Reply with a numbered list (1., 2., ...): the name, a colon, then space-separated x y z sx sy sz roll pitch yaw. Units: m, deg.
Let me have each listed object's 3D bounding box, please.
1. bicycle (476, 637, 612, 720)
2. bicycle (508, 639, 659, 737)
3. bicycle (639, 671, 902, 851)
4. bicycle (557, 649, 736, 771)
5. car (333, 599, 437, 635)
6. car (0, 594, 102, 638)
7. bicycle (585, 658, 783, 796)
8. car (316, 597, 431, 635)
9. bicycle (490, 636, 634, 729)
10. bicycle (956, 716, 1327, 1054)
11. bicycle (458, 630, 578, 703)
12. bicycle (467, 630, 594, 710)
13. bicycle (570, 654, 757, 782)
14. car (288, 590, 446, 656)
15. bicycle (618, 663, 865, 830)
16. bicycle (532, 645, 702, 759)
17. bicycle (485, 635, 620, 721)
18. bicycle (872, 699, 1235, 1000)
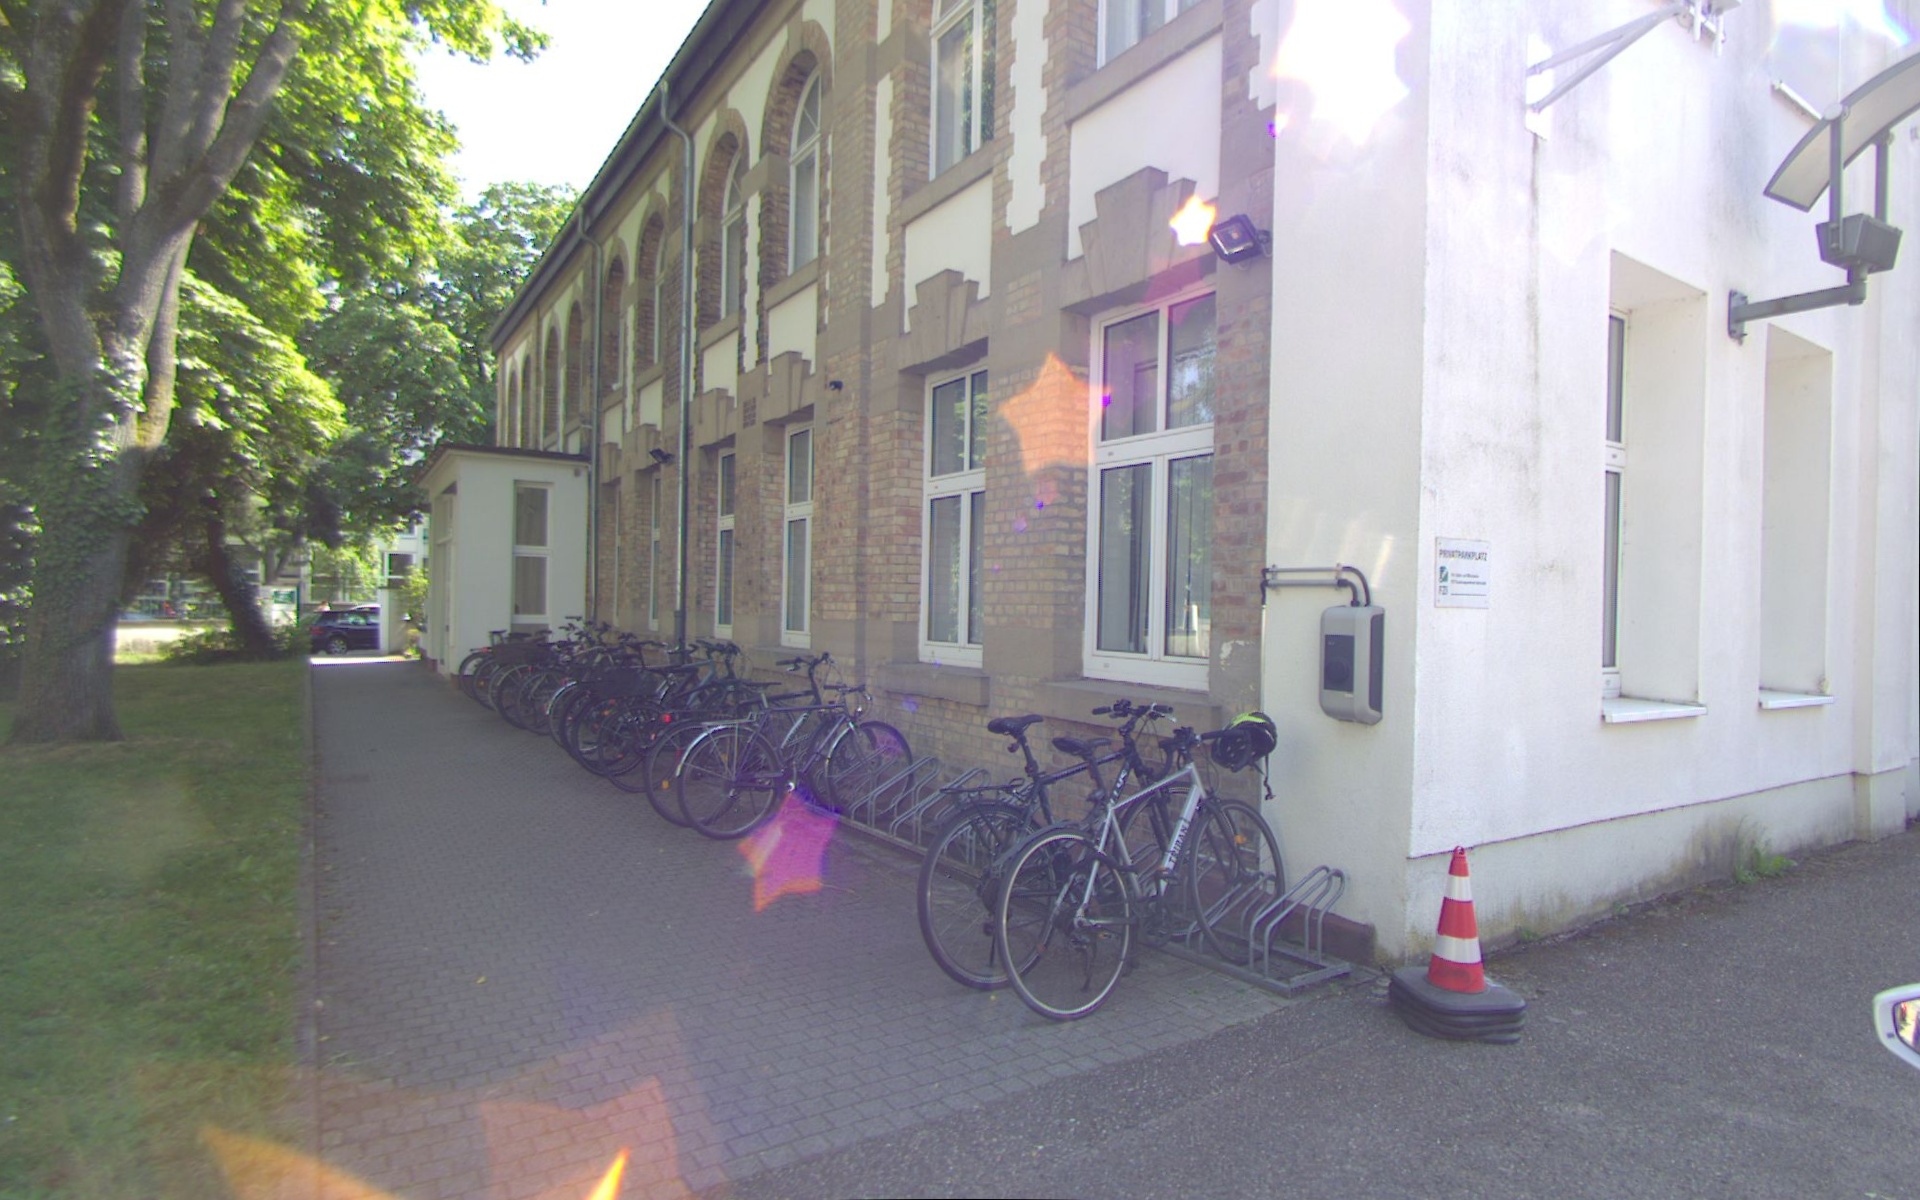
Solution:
1. bicycle: -5.364 0.992 13.002 1.581 1.002 0.371 1 0 -31
2. bicycle: -4.191 0.949 11.229 1.524 1.005 0.442 0 -1 -33
3. bicycle: -1.218 1.006 6.638 1.666 1.005 0.442 0 -1 -31
4. bicycle: -2.876 0.978 9.264 1.523 1.005 0.442 0 -1 -31
5. car: -27.677 0.827 48.480 3.931 1.684 1.825 1 0 -13
6. car: -34.209 0.594 36.534 4.152 1.559 1.776 0 -1 -17
7. bicycle: -2.258 1.008 8.299 1.523 1.005 0.442 0 -1 -31
8. car: -24.964 0.662 42.867 1.615 1.502 3.994 1 0 28
9. bicycle: -4.636 0.931 11.737 1.523 1.005 0.442 0 -1 -31
10. bicycle: 0.745 1.016 3.931 1.523 1.005 0.442 0 -1 -31
11. bicycle: -6.415 0.956 14.620 1.526 1.005 0.441 2 0 -36
12. bicycle: -5.753 0.917 13.490 1.523 1.005 0.442 0 -1 -31
13. bicycle: -2.580 0.997 8.802 1.523 1.005 0.442 0 -1 -31
14. car: -18.734 0.700 31.829 3.973 1.940 1.974 1 -1 -44
15. bicycle: -1.504 0.979 7.046 1.647 1.005 0.442 0 -1 -31
16. bicycle: -3.346 0.967 9.844 1.523 1.005 0.442 0 -1 -31
17. bicycle: -5.103 0.955 12.601 1.523 1.005 0.442 0 -1 -31
18. bicycle: 0.441 0.978 4.309 1.611 1.005 0.442 0 -1 -31
